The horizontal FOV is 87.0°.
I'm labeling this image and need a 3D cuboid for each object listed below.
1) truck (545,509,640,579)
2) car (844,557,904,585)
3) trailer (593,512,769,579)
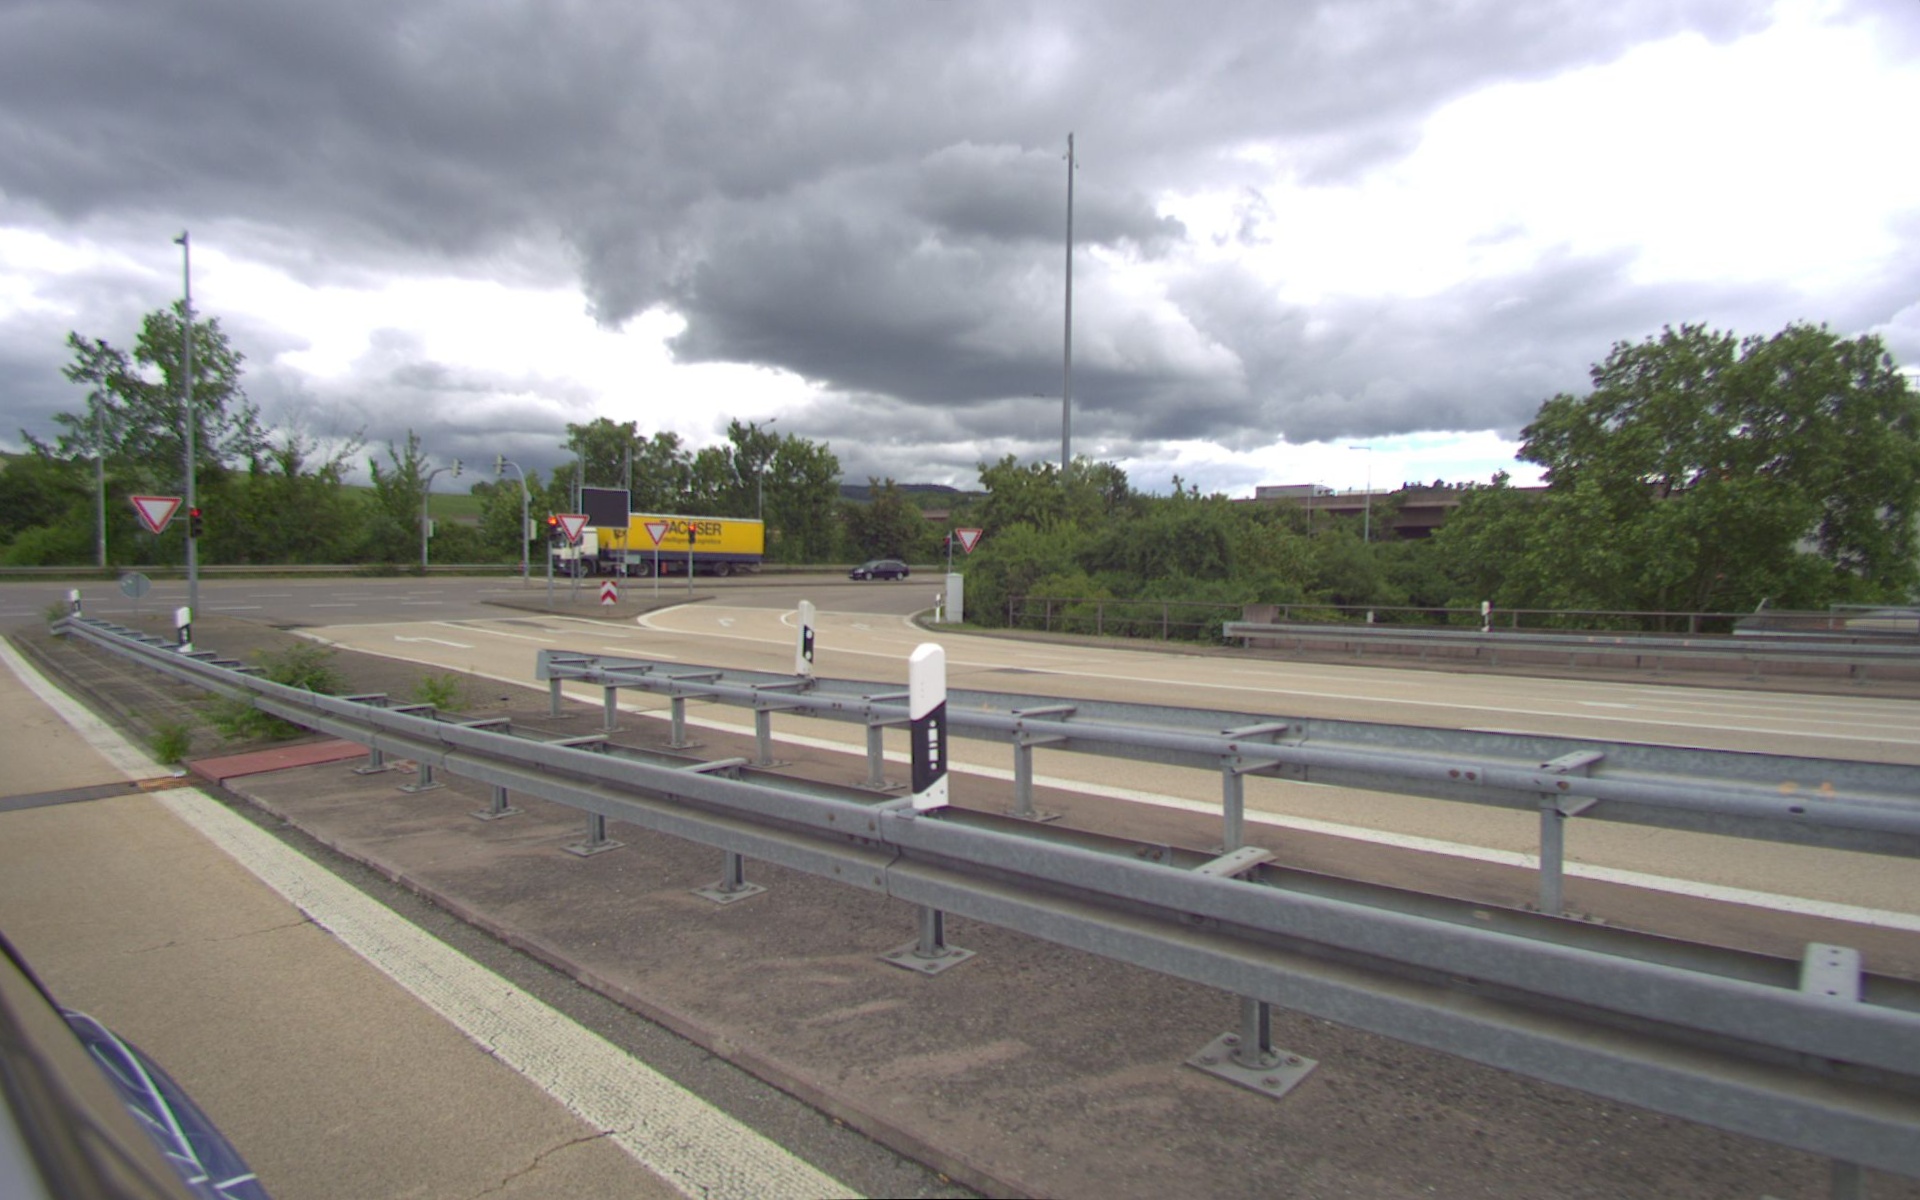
[{"bbox_3d":[-23.222,-3.474,64.032,5.023,4.235,2.639,-1,3,-42],"label":"truck"},{"bbox_3d":[-5.930,-2.065,70.175,4.064,1.673,1.631,-5,8,-44],"label":"car"},{"bbox_3d":[-18.574,-3.551,68.184,11.476,4.235,2.639,-1,3,-42],"label":"trailer"}]
